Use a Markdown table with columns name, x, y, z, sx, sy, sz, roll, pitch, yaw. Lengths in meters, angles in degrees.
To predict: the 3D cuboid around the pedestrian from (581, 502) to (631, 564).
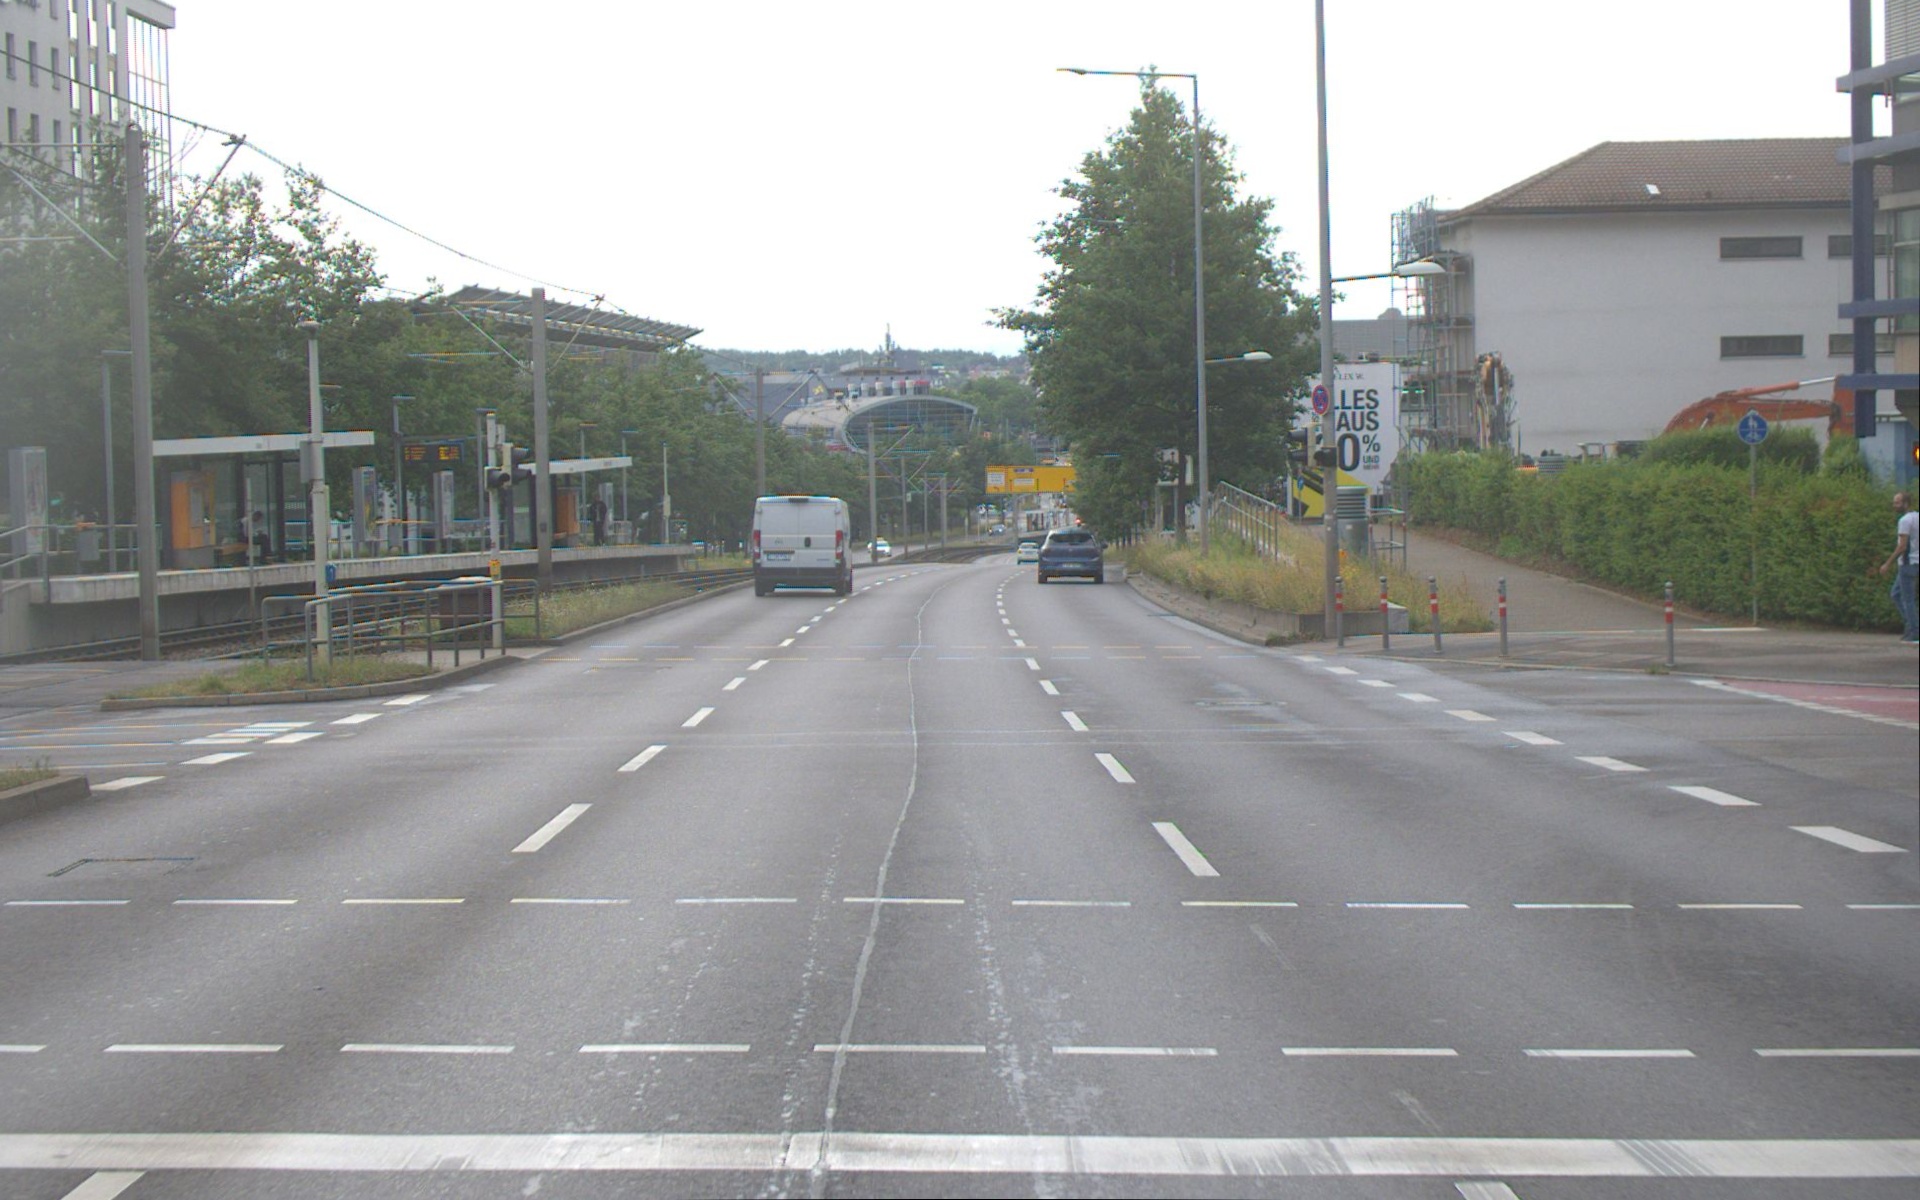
| name | x | y | z | sx | sy | sz | roll | pitch | yaw |
| --- | --- | --- | --- | --- | --- | --- | --- | --- | --- |
| pedestrian | -11.599 | -2.186 | 112.756 | 1.267 | 2.007 | 1.129 | 1 | 0 | 18 |

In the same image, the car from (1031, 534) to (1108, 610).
| name | x | y | z | sx | sy | sz | roll | pitch | yaw |
| --- | --- | --- | --- | --- | --- | --- | --- | --- | --- |
| car | 2.979 | -0.763 | 92.983 | 1.994 | 2.007 | 3.934 | 1 | 1 | 3 |

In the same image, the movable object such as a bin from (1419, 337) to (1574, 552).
| name | x | y | z | sx | sy | sz | roll | pitch | yaw |
| --- | --- | --- | --- | --- | --- | --- | --- | --- | --- |
| movable object such as a bin | 14.867 | -4.197 | 95.913 | 3.290 | 5.665 | 8.763 | 1 | 1 | 3 |

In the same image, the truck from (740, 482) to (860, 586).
| name | x | y | z | sx | sy | sz | roll | pitch | yaw |
| --- | --- | --- | --- | --- | --- | --- | --- | --- | --- |
| truck | -3.587 | -1.476 | 78.160 | 2.360 | 2.254 | 5.306 | 1 | 1 | 1 |

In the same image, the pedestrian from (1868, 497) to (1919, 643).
| name | x | y | z | sx | sy | sz | roll | pitch | yaw |
| --- | --- | --- | --- | --- | --- | --- | --- | --- | --- |
| pedestrian | 10.821 | -0.344 | 39.297 | 0.554 | 1.646 | 0.832 | -1 | 1 | -10 |

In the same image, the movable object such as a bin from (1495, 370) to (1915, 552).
| name | x | y | z | sx | sy | sz | roll | pitch | yaw |
| --- | --- | --- | --- | --- | --- | --- | --- | --- | --- |
| movable object such as a bin | 23.046 | -4.259 | 106.924 | 12.141 | 5.243 | 3.789 | -1 | 0 | 0 |

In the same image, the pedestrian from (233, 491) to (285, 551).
| name | x | y | z | sx | sy | sz | roll | pitch | yaw |
| --- | --- | --- | --- | --- | --- | --- | --- | --- | --- |
| pedestrian | -15.491 | -1.749 | 75.996 | 0.961 | 1.295 | 0.684 | -1 | 1 | 1 |
